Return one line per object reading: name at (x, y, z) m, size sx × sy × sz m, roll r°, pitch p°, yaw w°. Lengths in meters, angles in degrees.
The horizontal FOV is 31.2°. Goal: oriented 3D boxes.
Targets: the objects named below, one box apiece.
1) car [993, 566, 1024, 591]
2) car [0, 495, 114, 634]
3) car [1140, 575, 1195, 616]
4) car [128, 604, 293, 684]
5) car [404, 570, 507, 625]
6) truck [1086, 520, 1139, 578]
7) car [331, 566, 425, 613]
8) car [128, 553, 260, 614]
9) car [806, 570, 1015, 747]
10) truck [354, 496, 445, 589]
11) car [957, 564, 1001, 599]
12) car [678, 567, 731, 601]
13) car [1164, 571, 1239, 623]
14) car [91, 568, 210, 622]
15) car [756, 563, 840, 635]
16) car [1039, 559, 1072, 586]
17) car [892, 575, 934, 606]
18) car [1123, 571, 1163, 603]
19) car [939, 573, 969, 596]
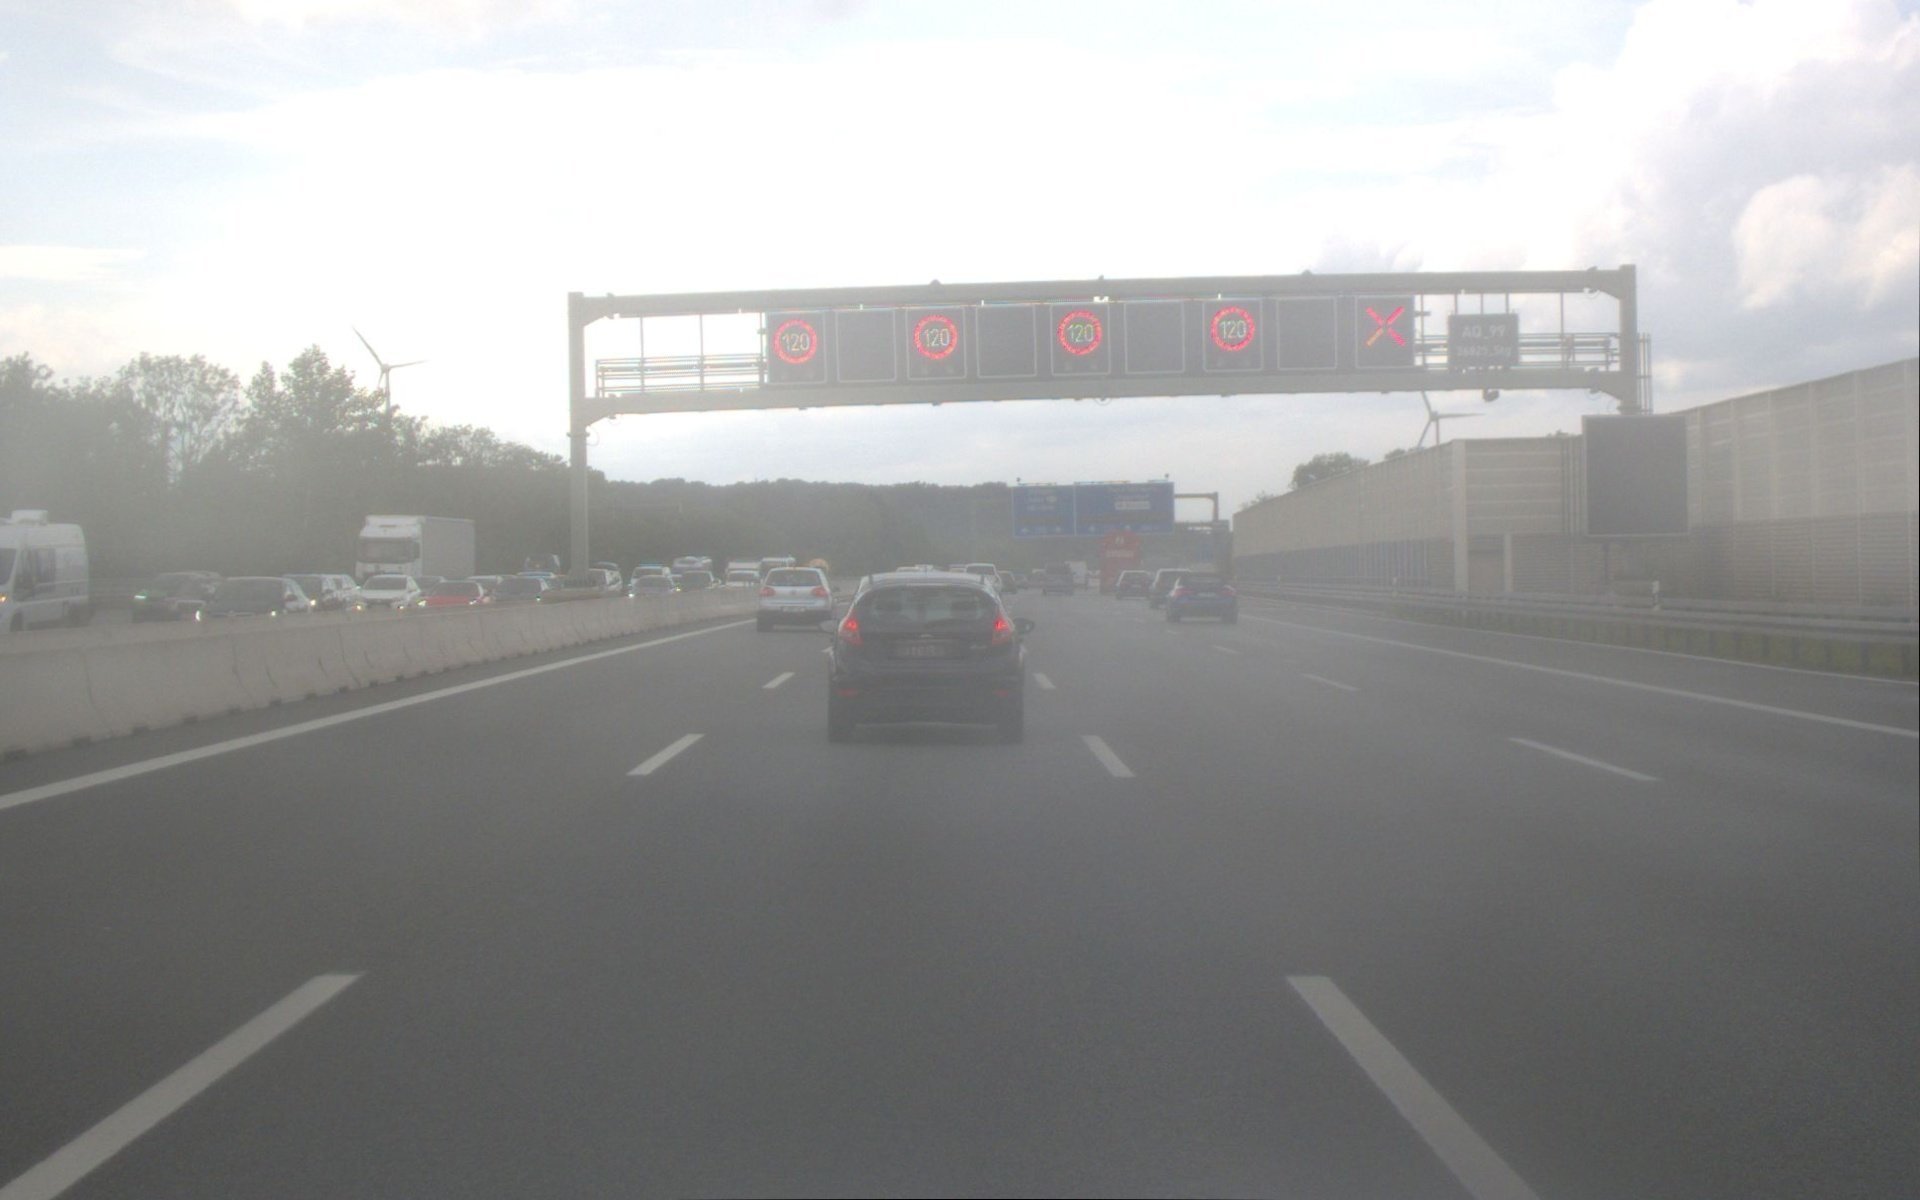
car at (3.186, -1.411, 225.392) m, size 1.968 × 1.555 × 4.433 m, roll -1°, pitch 0°, yaw 0°
car at (-18.564, -0.679, 66.770) m, size 2.383 × 2.541 × 7.086 m, roll 0°, pitch 0°, yaw 1°
car at (7.968, -0.163, 132.371) m, size 1.882 × 1.537 × 4.433 m, roll -1°, pitch 0°, yaw 1°
car at (-14.743, 0.842, 67.923) m, size 2.060 × 1.486 × 4.997 m, roll 0°, pitch 0°, yaw 1°
car at (-14.245, -0.085, 97.286) m, size 2.060 × 1.486 × 4.997 m, roll 0°, pitch 0°, yaw 1°
truck at (9.849, -3.328, 223.156) m, size 3.152 × 3.589 × 12.699 m, roll 1°, pitch 1°, yaw 1°
car at (-18.605, -0.342, 110.107) m, size 2.060 × 1.486 × 4.997 m, roll 0°, pitch 0°, yaw 1°
car at (-19.019, -0.411, 85.541) m, size 2.060 × 1.486 × 4.997 m, roll 0°, pitch 0°, yaw 1°
car at (-0.426, 0.464, 30.401) m, size 1.717 × 1.412 × 4.279 m, roll 0°, pitch 1°, yaw -1°
truck at (-24.604, -2.513, 151.112) m, size 2.972 × 4.021 × 5.726 m, roll 0°, pitch 1°, yaw 1°
car at (0.901, -0.843, 159.863) m, size 1.968 × 1.555 × 4.433 m, roll -1°, pitch 0°, yaw 1°
car at (-12.405, -0.791, 167.313) m, size 2.060 × 1.640 × 5.380 m, roll 0°, pitch 0°, yaw 1°
car at (6.753, -0.078, 96.422) m, size 1.950 × 1.413 × 4.232 m, roll 0°, pitch 0°, yaw 2°
car at (-22.655, -0.147, 96.393) m, size 2.060 × 1.486 × 4.997 m, roll 0°, pitch 0°, yaw 1°
car at (-3.764, -0.046, 80.258) m, size 1.717 × 1.618 × 4.278 m, roll 0°, pitch 1°, yaw 0°
car at (5.859, -1.677, 211.299) m, size 1.968 × 1.555 × 4.433 m, roll -1°, pitch 0°, yaw 1°
car at (-2.409, -0.464, 177.369) m, size 1.968 × 1.555 × 4.433 m, roll -1°, pitch 0°, yaw 1°
car at (9.292, -0.646, 174.559) m, size 1.882 × 1.555 × 4.433 m, roll -1°, pitch 0°, yaw 1°
car at (-0.384, -1.051, 238.369) m, size 1.968 × 1.555 × 4.433 m, roll -1°, pitch 0°, yaw 1°
